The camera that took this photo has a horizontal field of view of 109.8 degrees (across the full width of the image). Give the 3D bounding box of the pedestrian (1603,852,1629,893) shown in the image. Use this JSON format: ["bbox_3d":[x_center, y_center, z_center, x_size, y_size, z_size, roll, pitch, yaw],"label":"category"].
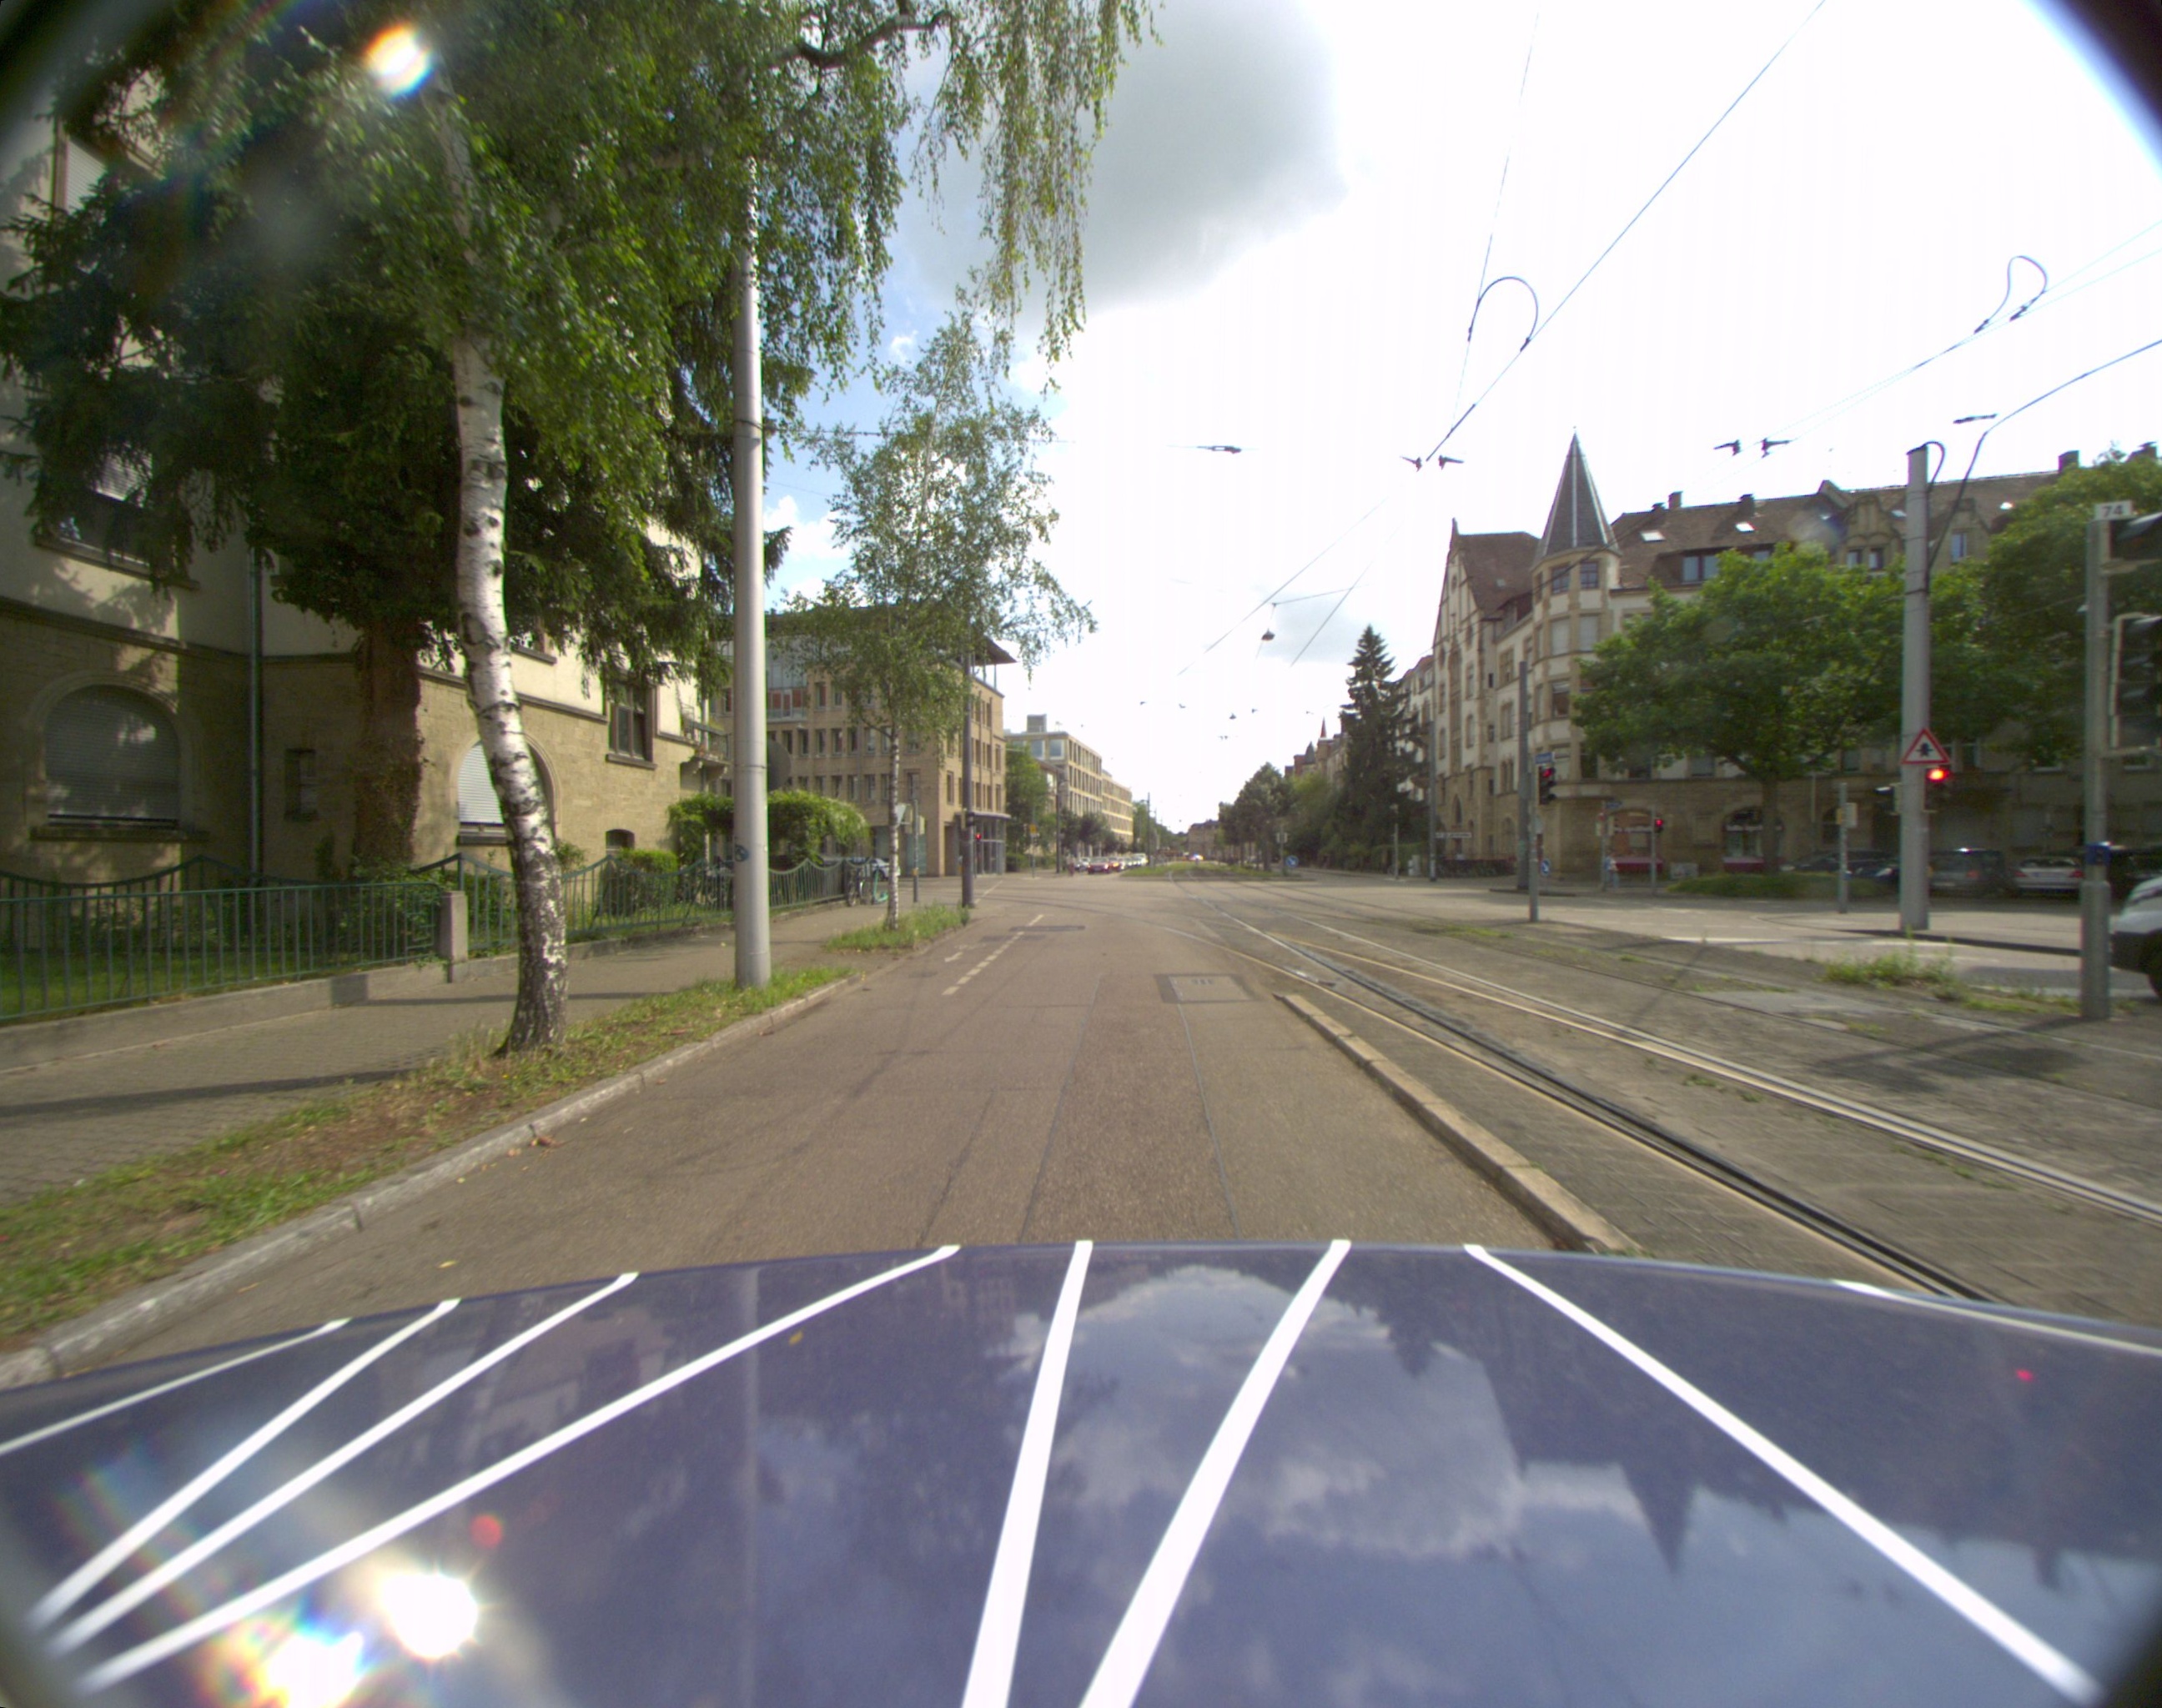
[{"bbox_3d":[23.107,0.778,32.836,0.932,1.730,0.771,0,1,34],"label":"pedestrian"}]

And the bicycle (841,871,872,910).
[{"bbox_3d":[-6.376,1.019,21.632,0.350,1.016,1.481,2,0,2],"label":"bicycle"}]

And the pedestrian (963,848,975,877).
[{"bbox_3d":[-7.329,0.544,49.669,0.737,1.832,0.806,-1,1,-12],"label":"pedestrian"}]

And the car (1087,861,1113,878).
[{"bbox_3d":[1.648,1.271,64.254,1.740,1.313,4.002,-2,0,7],"label":"car"}]

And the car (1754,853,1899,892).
[{"bbox_3d":[33.330,0.806,34.103,4.260,1.675,2.001,0,0,9],"label":"car"}]

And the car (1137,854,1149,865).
[{"bbox_3d":[9.360,0.777,114.161,1.645,1.610,3.714,0,0,7],"label":"car"}]

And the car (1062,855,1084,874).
[{"bbox_3d":[-0.720,0.967,73.439,1.998,1.730,4.000,0,0,2],"label":"car"}]

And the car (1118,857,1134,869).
[{"bbox_3d":[5.134,1.060,86.513,1.619,1.265,4.002,-1,0,7],"label":"car"}]

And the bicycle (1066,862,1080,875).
[{"bbox_3d":[-0.595,1.067,56.806,0.771,0.885,1.893,0,0,9],"label":"bicycle"}]

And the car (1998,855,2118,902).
[{"bbox_3d":[33.905,0.814,26.361,3.736,1.536,1.644,0,0,-23],"label":"car"}]

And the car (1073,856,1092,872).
[{"bbox_3d":[0.175,1.040,80.956,1.835,1.674,4.001,0,0,3],"label":"car"}]

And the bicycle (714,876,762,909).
[{"bbox_3d":[-9.727,1.085,21.564,1.169,0.895,0.453,0,1,2],"label":"bicycle"}]

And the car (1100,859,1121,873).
[{"bbox_3d":[2.825,1.097,71.419,1.619,1.265,4.002,-1,0,7],"label":"car"}]

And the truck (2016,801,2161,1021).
[{"bbox_3d":[11.648,0.573,5.497,2.189,2.201,6.616,0,0,7],"label":"truck"}]

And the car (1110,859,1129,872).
[{"bbox_3d":[4.054,1.188,79.531,1.619,1.265,4.002,-1,0,7],"label":"car"}]

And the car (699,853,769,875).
[{"bbox_3d":[-22.821,0.669,49.976,3.993,1.414,1.679,0,-1,13],"label":"car"}]

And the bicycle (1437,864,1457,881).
[{"bbox_3d":[22.424,1.104,46.574,0.591,0.967,1.629,0,2,6],"label":"bicycle"}]

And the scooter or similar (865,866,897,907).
[{"bbox_3d":[-5.896,0.947,22.494,0.521,1.172,1.188,2,0,4],"label":"scooter or similar"}]

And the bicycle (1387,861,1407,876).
[{"bbox_3d":[22.418,1.024,53.938,0.625,0.966,2.337,0,0,6],"label":"bicycle"}]

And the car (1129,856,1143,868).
[{"bbox_3d":[7.178,1.010,98.992,1.738,1.570,4.002,0,0,7],"label":"car"}]

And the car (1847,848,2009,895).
[{"bbox_3d":[34.446,0.680,31.023,3.993,1.810,2.002,1,0,12],"label":"car"}]

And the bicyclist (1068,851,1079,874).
[{"bbox_3d":[-0.553,0.632,57.060,0.665,1.679,0.857,0,1,8],"label":"bicyclist"}]

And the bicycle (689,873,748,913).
[{"bbox_3d":[-9.315,0.995,19.537,1.314,0.996,0.453,0,1,2],"label":"bicycle"}]

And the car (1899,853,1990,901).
[{"bbox_3d":[31.851,0.781,27.990,4.236,1.536,1.994,-1,1,-39],"label":"car"}]

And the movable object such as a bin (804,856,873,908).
[{"bbox_3d":[-7.227,0.820,22.783,1.305,1.483,2.000,0,0,4],"label":"movable object such as a bin"}]

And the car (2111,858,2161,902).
[{"bbox_3d":[36.736,0.852,25.601,3.574,1.390,1.621,0,1,-23],"label":"car"}]

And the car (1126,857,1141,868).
[{"bbox_3d":[6.523,0.988,93.293,1.619,1.265,4.002,-1,0,7],"label":"car"}]

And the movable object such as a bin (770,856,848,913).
[{"bbox_3d":[-7.343,0.789,20.655,1.305,1.483,2.000,0,0,4],"label":"movable object such as a bin"}]

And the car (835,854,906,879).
[{"bbox_3d":[-13.193,0.783,47.639,3.993,1.538,1.679,0,-1,13],"label":"car"}]
